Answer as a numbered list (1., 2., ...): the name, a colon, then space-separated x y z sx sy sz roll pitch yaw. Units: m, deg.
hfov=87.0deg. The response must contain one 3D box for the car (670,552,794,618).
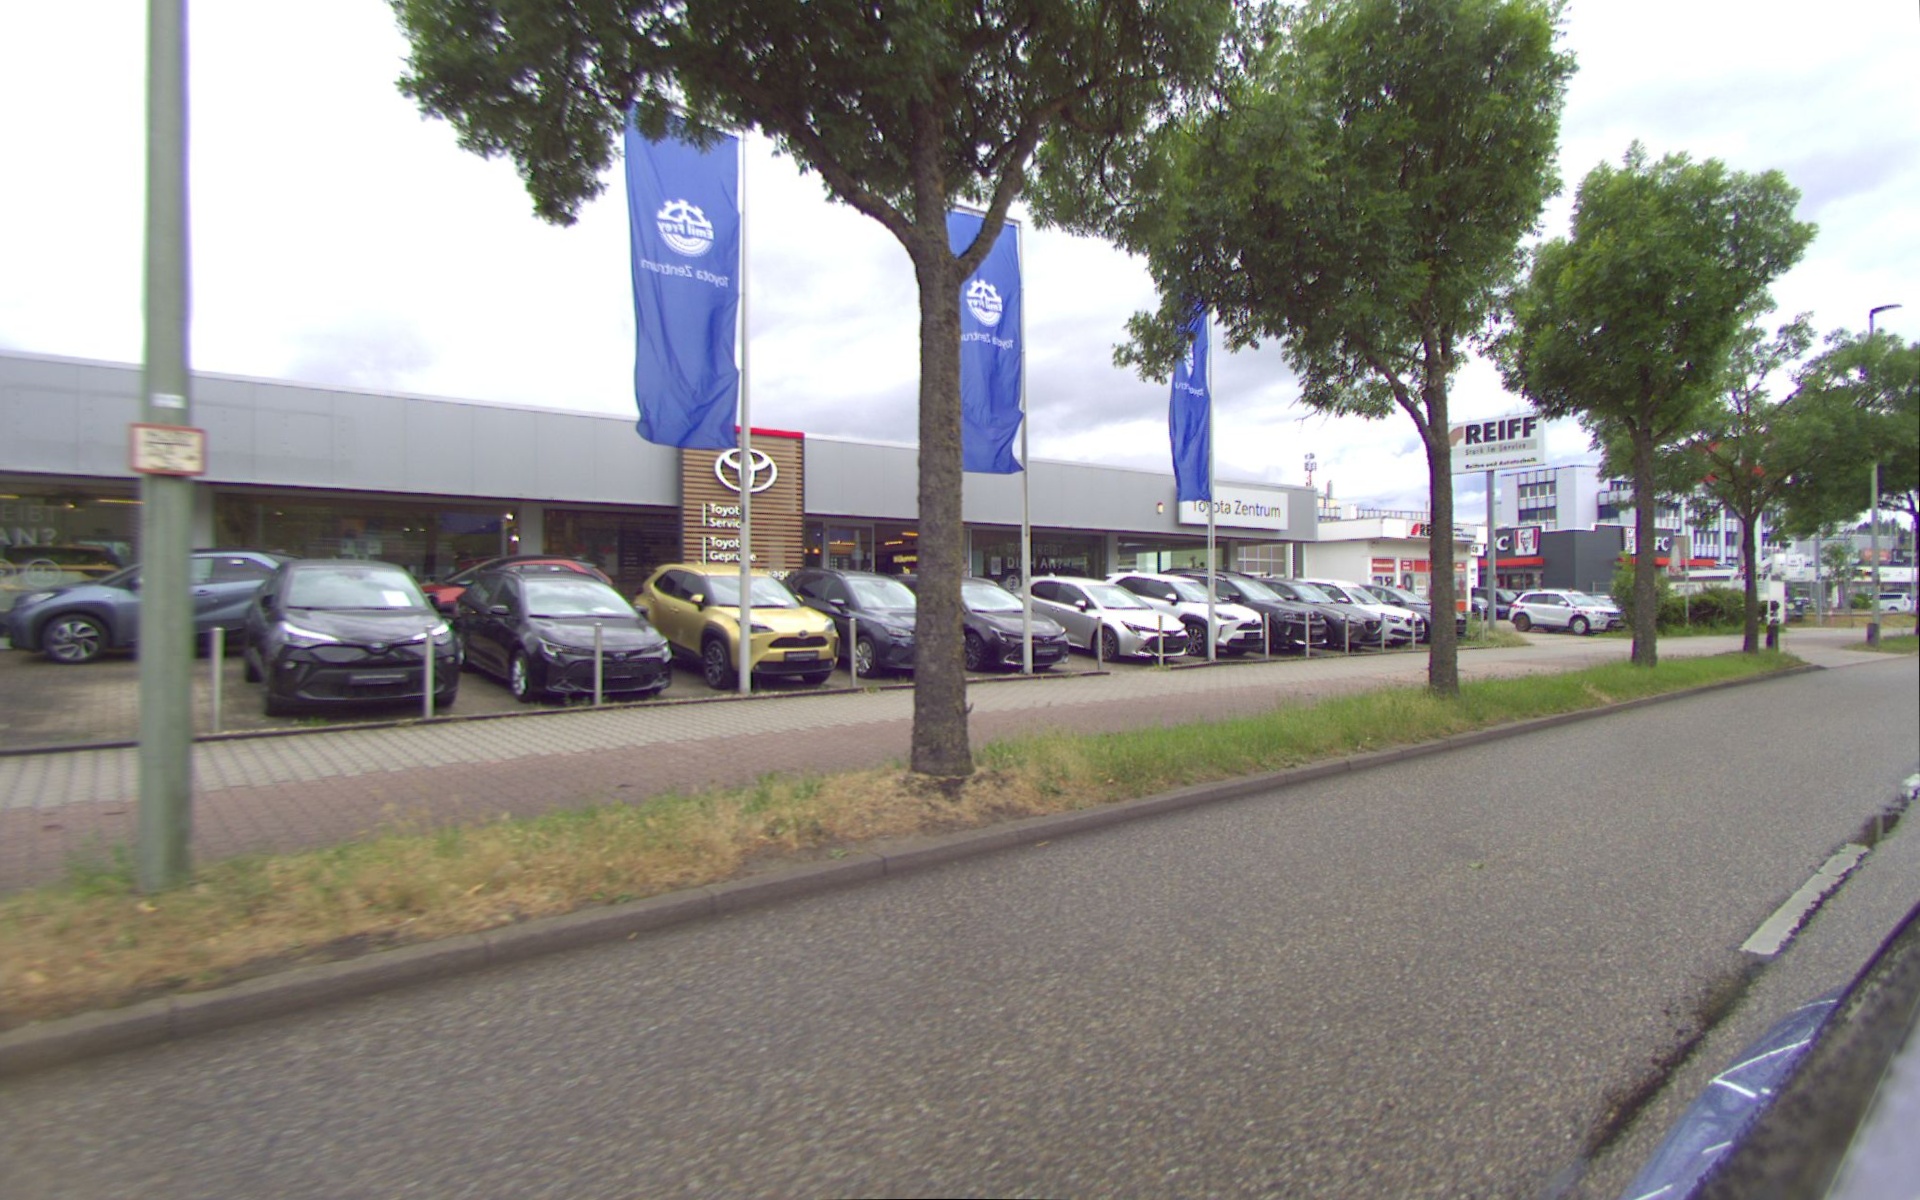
1. car: -5.977 -0.389 26.215 1.643 1.555 3.998 0 1 -37

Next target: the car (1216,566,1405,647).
1. car: 8.490 0.094 24.799 1.778 1.603 4.002 0 4 -36

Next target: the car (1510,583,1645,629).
1. car: 23.236 0.187 38.253 1.943 1.617 4.077 0 1 -18

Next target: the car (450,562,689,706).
1. car: -5.174 0.333 13.095 1.767 1.558 3.996 0 1 -39

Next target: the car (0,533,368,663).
1. car: -11.064 -0.061 14.690 4.047 1.641 1.879 0 2 -38

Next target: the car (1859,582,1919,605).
1. car: 86.972 -0.591 93.988 1.958 2.039 4.797 1 0 -22

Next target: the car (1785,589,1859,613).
1. car: 70.898 0.057 83.322 1.761 1.806 4.256 3 0 -26

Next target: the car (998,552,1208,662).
1. car: 2.727 0.043 20.129 1.778 1.808 4.001 0 4 -36

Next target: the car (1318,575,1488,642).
1. car: 12.137 0.182 27.931 1.795 1.479 3.844 0 4 -39

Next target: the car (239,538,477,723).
1. car: -7.025 0.192 11.611 1.811 1.667 3.999 0 4 -39

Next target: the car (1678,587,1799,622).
1. car: 36.980 0.185 48.184 1.852 1.571 4.193 0 0 -30

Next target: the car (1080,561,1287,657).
1. car: 4.702 0.124 21.738 1.780 1.606 3.999 1 5 -40

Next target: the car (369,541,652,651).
1. car: -7.532 -0.101 17.112 4.047 1.641 1.879 0 2 -38

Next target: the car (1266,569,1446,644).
1. car: 10.245 0.105 26.435 1.778 1.562 4.002 0 5 -36

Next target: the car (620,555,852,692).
1. car: -3.374 0.230 14.739 1.638 1.584 3.847 0 4 -41

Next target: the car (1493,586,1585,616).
1. car: 30.452 0.029 53.308 1.754 1.497 3.858 -1 0 -36

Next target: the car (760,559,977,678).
1. car: -1.615 0.205 16.537 1.679 1.566 4.001 0 3 -36

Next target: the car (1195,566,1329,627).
1. car: 11.501 -0.159 38.819 1.929 2.177 4.664 0 1 -39

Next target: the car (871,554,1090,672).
1. car: 0.241 0.126 17.890 1.778 1.808 4.000 0 2 -36

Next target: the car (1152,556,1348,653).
1. car: 6.536 0.022 23.204 1.778 1.807 4.002 0 5 -36

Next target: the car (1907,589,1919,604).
1. car: 93.980 -0.292 96.964 1.785 1.411 4.383 0 1 -23
